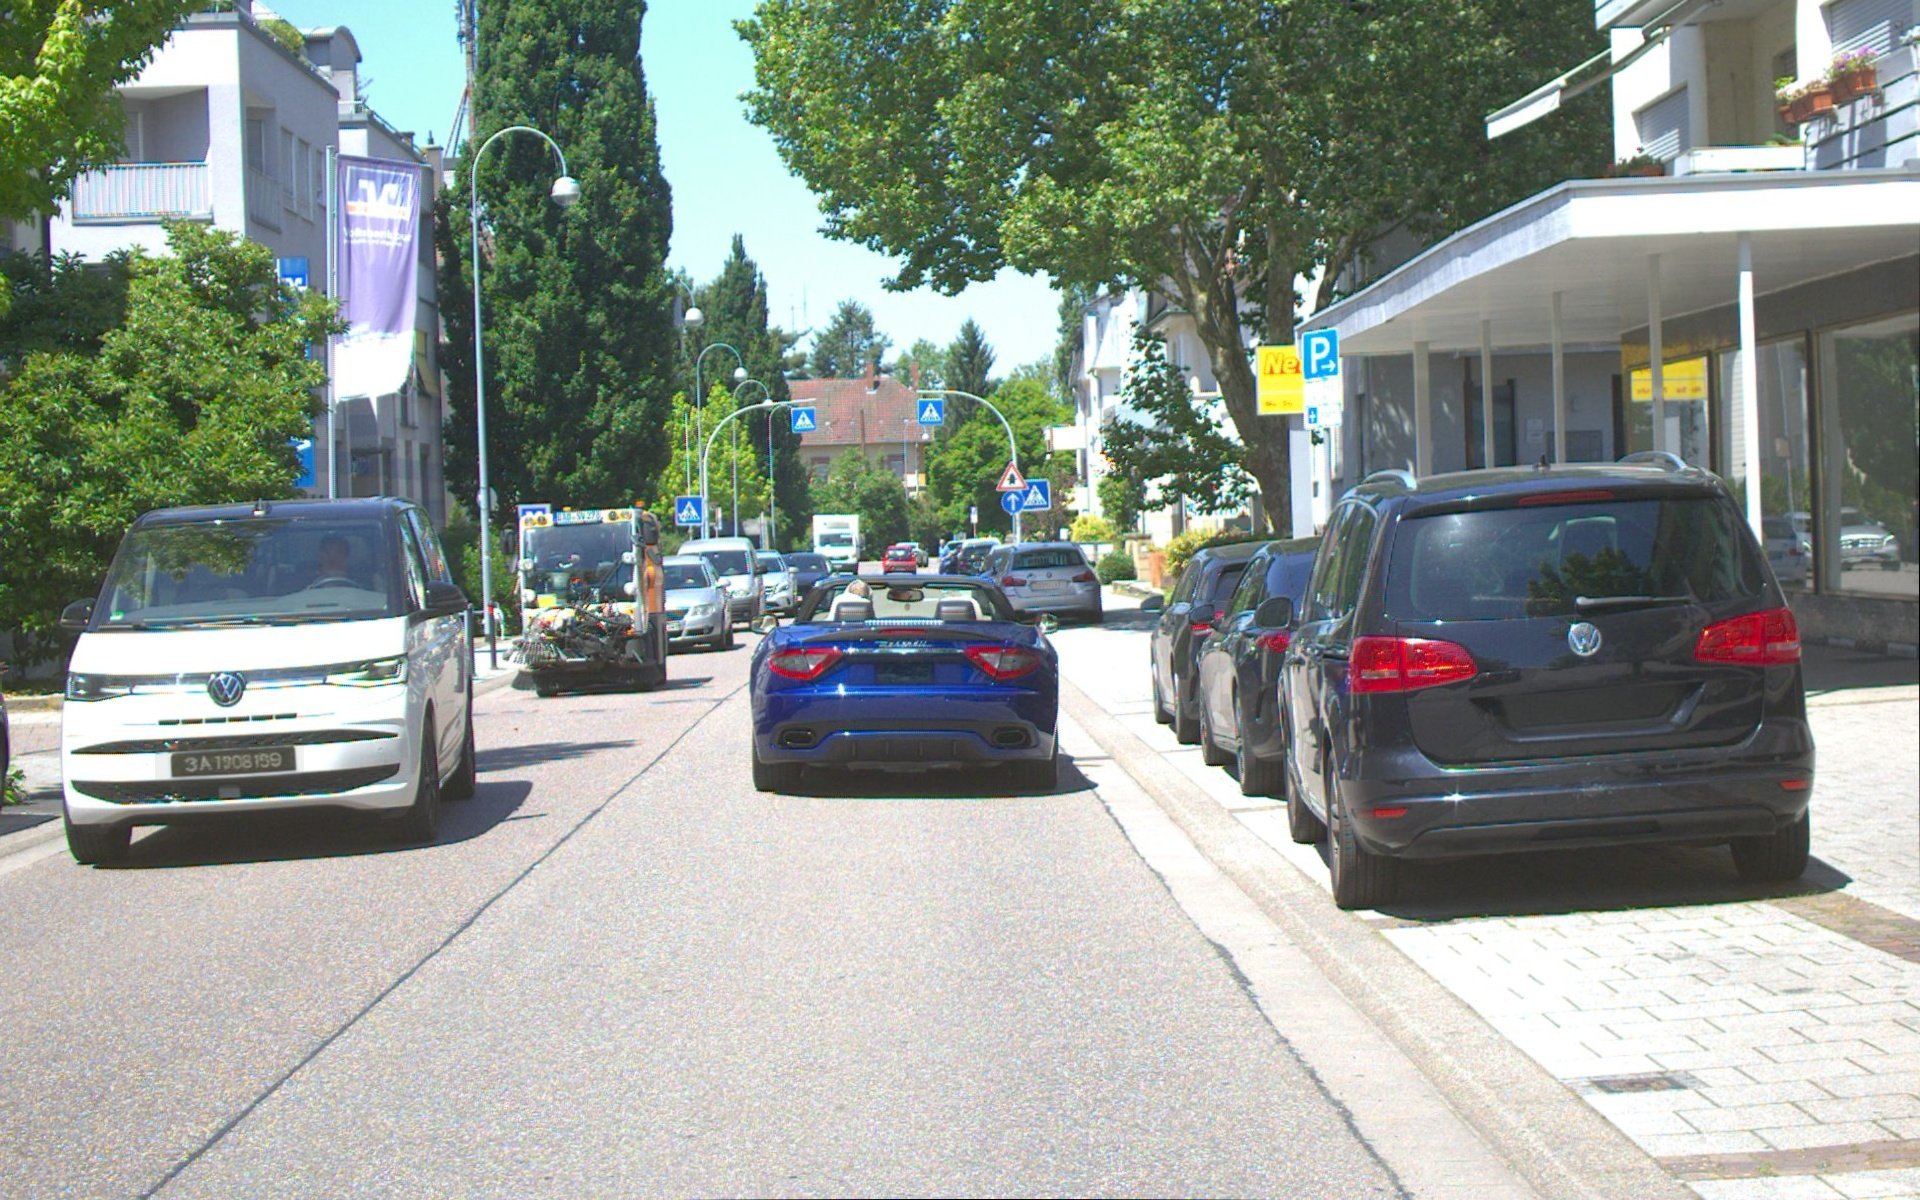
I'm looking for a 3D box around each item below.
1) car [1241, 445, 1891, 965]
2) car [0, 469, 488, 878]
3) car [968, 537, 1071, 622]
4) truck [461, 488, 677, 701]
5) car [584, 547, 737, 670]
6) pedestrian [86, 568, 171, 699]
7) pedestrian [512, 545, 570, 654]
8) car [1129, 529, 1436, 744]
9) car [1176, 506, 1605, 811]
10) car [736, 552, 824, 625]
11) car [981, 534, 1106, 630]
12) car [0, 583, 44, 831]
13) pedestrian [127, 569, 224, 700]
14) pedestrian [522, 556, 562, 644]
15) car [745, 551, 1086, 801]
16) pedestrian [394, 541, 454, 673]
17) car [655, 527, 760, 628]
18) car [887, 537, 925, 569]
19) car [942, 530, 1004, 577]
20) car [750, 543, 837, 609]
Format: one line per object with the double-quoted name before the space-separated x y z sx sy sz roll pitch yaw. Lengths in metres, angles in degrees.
"car" 2.411 0.286 14.891 1.993 1.792 4.569 -3 3 1
"car" -3.897 0.332 19.565 1.906 1.916 4.906 -4 1 -3
"car" 1.242 -0.465 73.594 1.976 1.551 4.349 -4 2 -1
"truck" -4.279 -0.119 38.262 1.804 2.110 4.715 -4 2 -1
"car" -4.583 0.090 53.281 1.949 1.503 4.798 -4 3 -1
"pedestrian" -9.076 0.357 37.516 0.596 1.366 0.694 -6 4 -34
"pedestrian" -7.674 -0.011 62.923 0.849 1.909 0.761 -4 3 0
"car" 2.390 0.238 26.459 1.845 1.409 4.163 -4 1 -1
"car" 2.460 0.293 20.786 1.894 1.525 4.569 -4 1 -1
"car" -4.031 -0.290 77.608 1.769 1.471 4.138 -4 1 -1
"car" 1.455 -0.352 61.348 1.976 1.445 4.349 -4 2 -1
"car" -6.666 0.679 19.350 1.754 1.469 4.321 -1 1 1
"pedestrian" -8.664 0.370 37.960 0.769 1.366 0.550 -7 5 -41
"pedestrian" -7.642 0.000 62.866 0.587 1.569 0.781 -2 1 -2
"car" -0.358 0.410 22.400 1.976 1.393 4.628 -1 1 -2
"pedestrian" -6.914 0.096 44.383 0.631 1.685 0.961 -1 -1 -1
"car" -4.847 -0.466 66.528 1.769 1.761 4.138 -4 2 -2
"car" -2.642 -2.295 167.174 1.769 1.471 4.138 -2 0 -1
"car" 0.423 -1.620 118.283 1.950 1.471 4.138 -4 1 -1
"car" -4.068 -0.613 84.705 1.950 1.471 4.138 -4 1 -1
